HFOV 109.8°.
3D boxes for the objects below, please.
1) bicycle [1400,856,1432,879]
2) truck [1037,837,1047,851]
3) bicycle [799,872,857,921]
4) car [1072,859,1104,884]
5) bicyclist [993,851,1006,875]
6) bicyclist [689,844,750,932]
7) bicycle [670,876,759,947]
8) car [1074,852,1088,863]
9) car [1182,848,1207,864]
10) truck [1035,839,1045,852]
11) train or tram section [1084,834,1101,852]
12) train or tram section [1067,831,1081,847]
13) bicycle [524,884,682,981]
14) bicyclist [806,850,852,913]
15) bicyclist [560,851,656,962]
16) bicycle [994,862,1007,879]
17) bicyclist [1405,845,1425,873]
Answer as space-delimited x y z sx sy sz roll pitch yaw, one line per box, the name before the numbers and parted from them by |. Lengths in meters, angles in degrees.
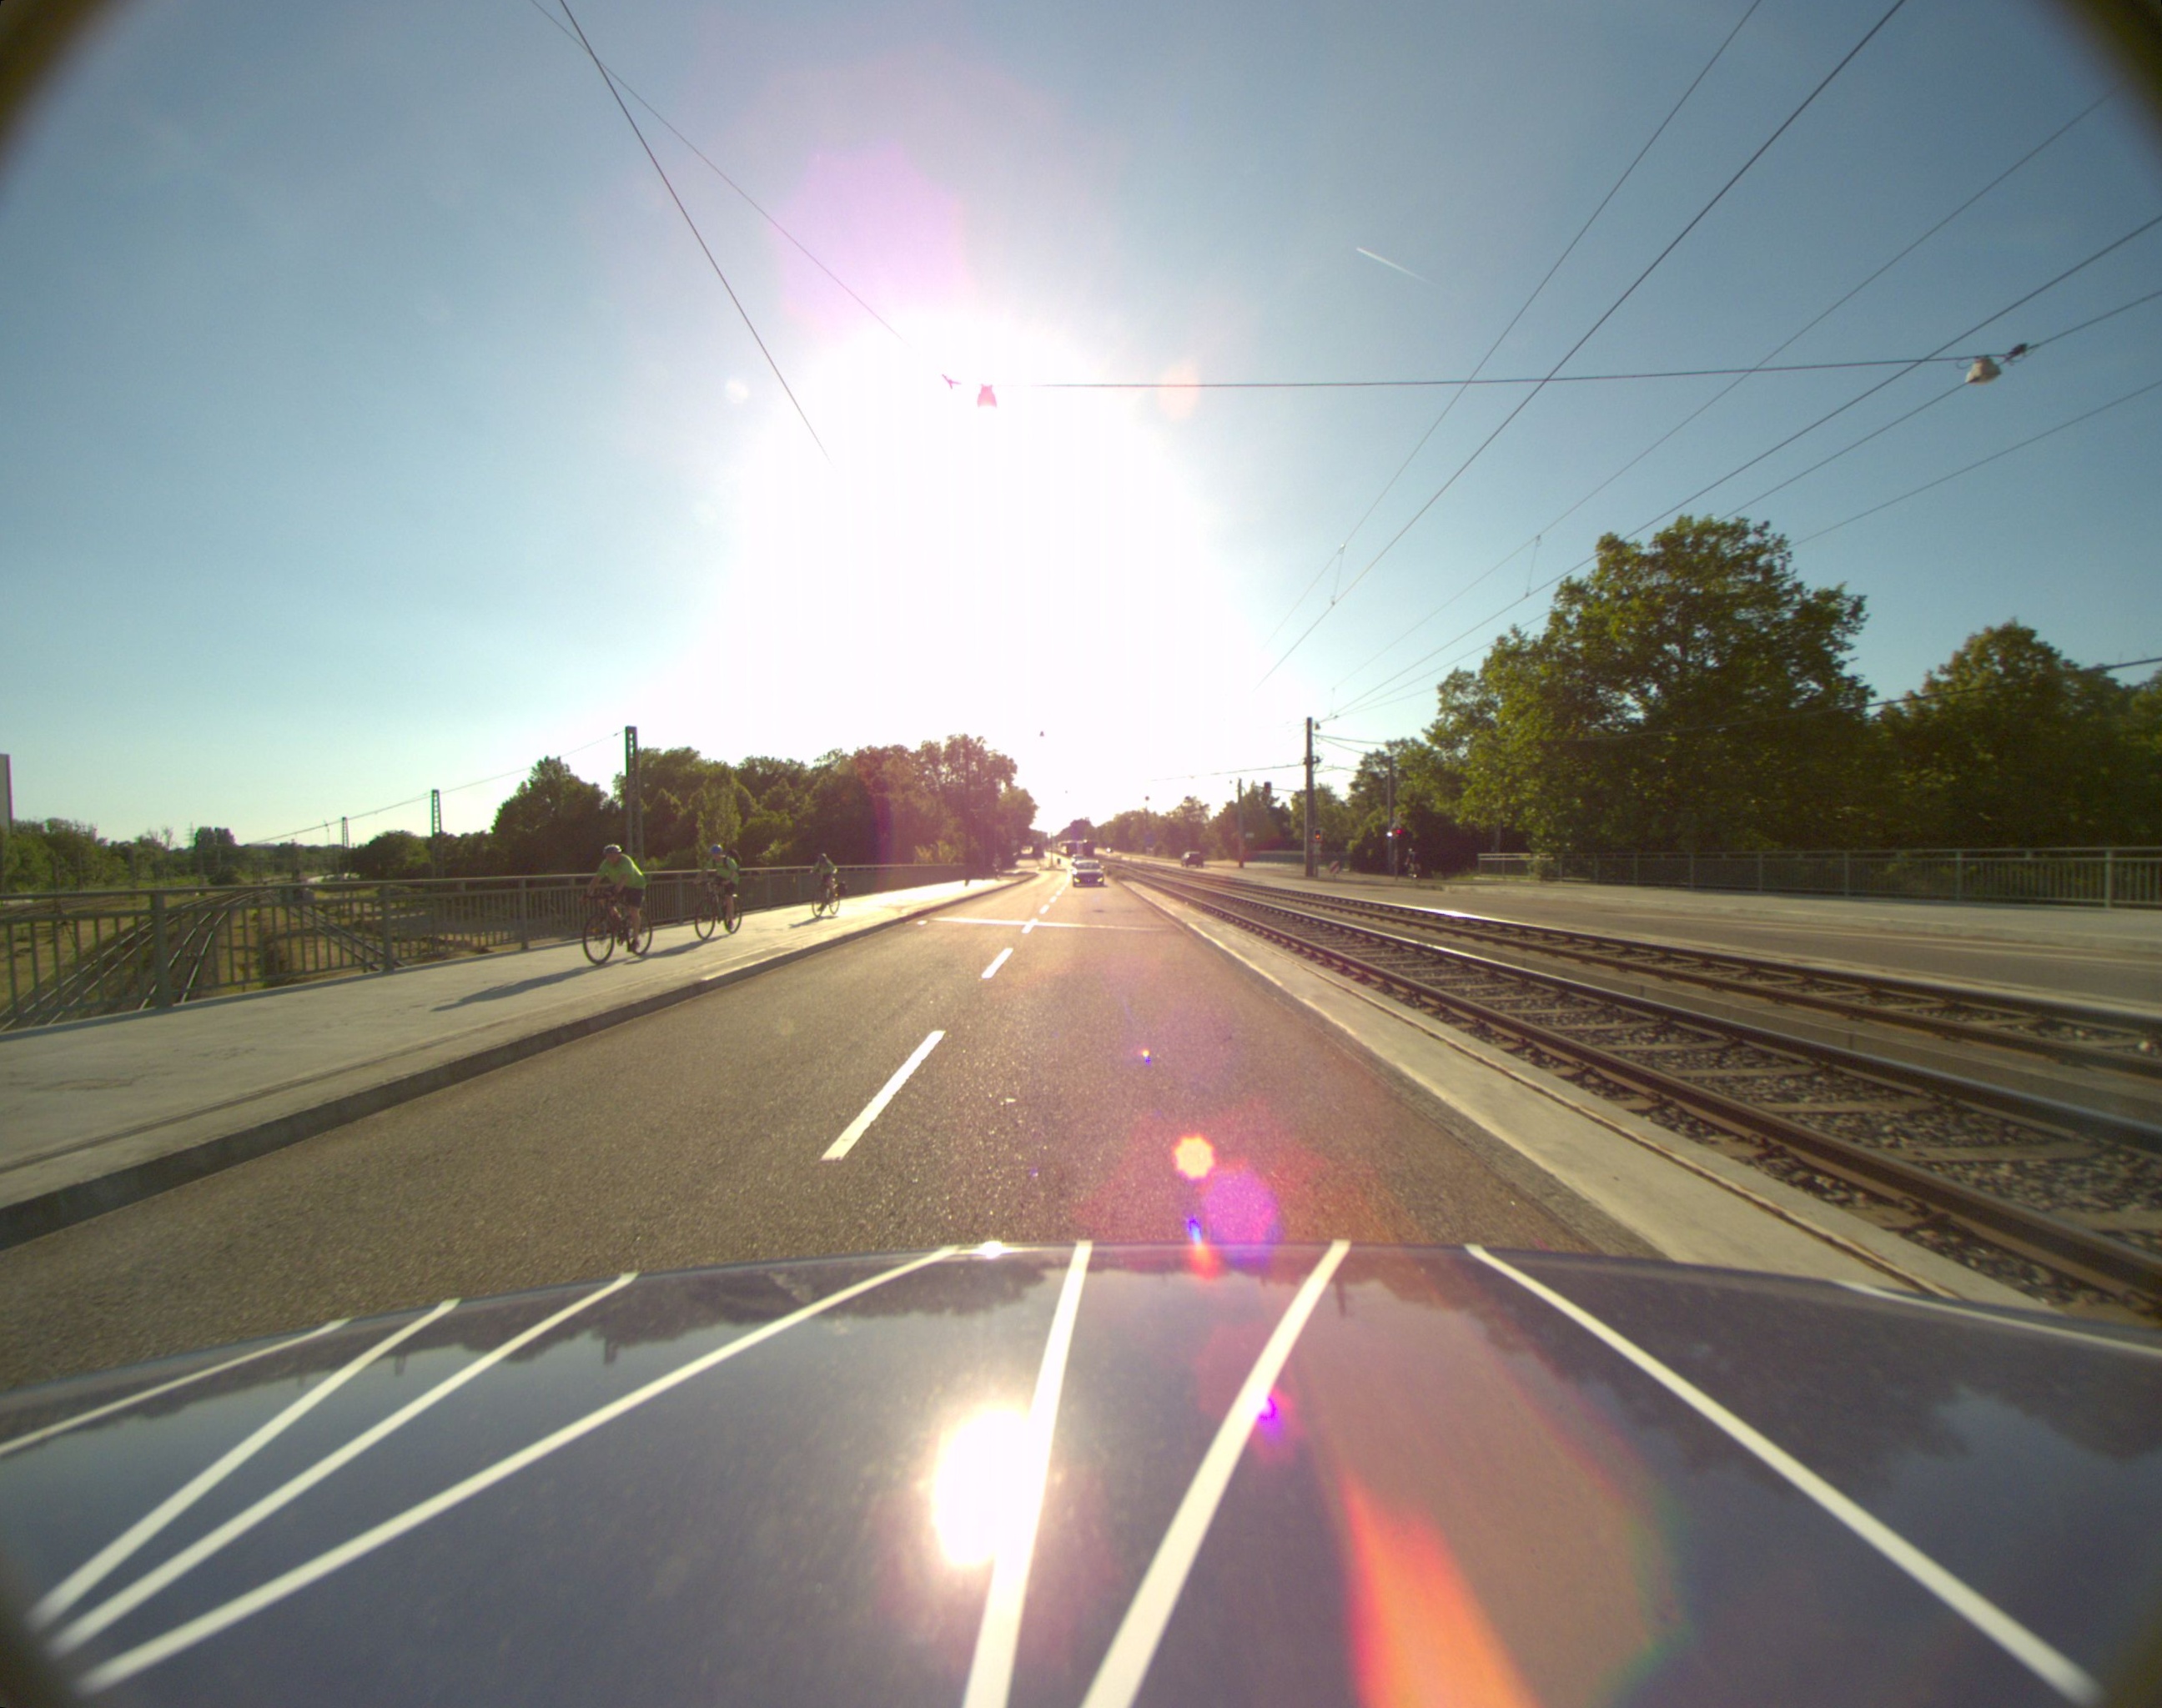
bicycle | 17.515 0.682 39.773 0.626 1.116 2.259 -2 1 0
truck | -10.891 -2.855 211.011 2.560 3.827 7.866 -1 1 -3
bicycle | -6.430 1.045 19.420 0.685 1.116 2.216 -2 0 0
car | 0.383 0.976 44.010 1.802 1.345 3.999 -1 1 0
bicyclist | -5.949 0.675 55.663 0.733 1.680 1.201 -4 1 -3
bicyclist | -6.824 0.617 14.390 0.626 1.583 0.930 -2 2 0
bicycle | -6.776 1.026 14.174 0.626 1.116 2.041 -2 1 0
car | -0.035 0.488 97.934 1.802 1.345 3.999 -1 1 0
car | 11.568 0.193 77.606 1.853 1.493 4.218 -2 1 1
truck | -10.519 -2.195 194.403 2.611 3.186 7.866 -1 1 -3
train or tram section | 2.496 -2.476 175.030 2.986 3.878 12.695 -1 1 -3
train or tram section | -1.861 -3.706 186.907 2.570 3.878 11.665 -1 1 -4
bicycle | -6.736 1.053 10.880 0.626 1.116 2.260 -2 1 5
bicyclist | -6.431 0.688 19.435 0.814 1.553 0.896 -2 0 0
bicyclist | -6.749 0.716 10.890 0.626 1.499 1.006 -2 1 5
bicycle | -5.902 1.164 55.650 0.733 1.116 2.741 -4 1 -3
bicyclist | 17.504 0.275 39.812 0.626 1.424 0.968 -2 2 0
